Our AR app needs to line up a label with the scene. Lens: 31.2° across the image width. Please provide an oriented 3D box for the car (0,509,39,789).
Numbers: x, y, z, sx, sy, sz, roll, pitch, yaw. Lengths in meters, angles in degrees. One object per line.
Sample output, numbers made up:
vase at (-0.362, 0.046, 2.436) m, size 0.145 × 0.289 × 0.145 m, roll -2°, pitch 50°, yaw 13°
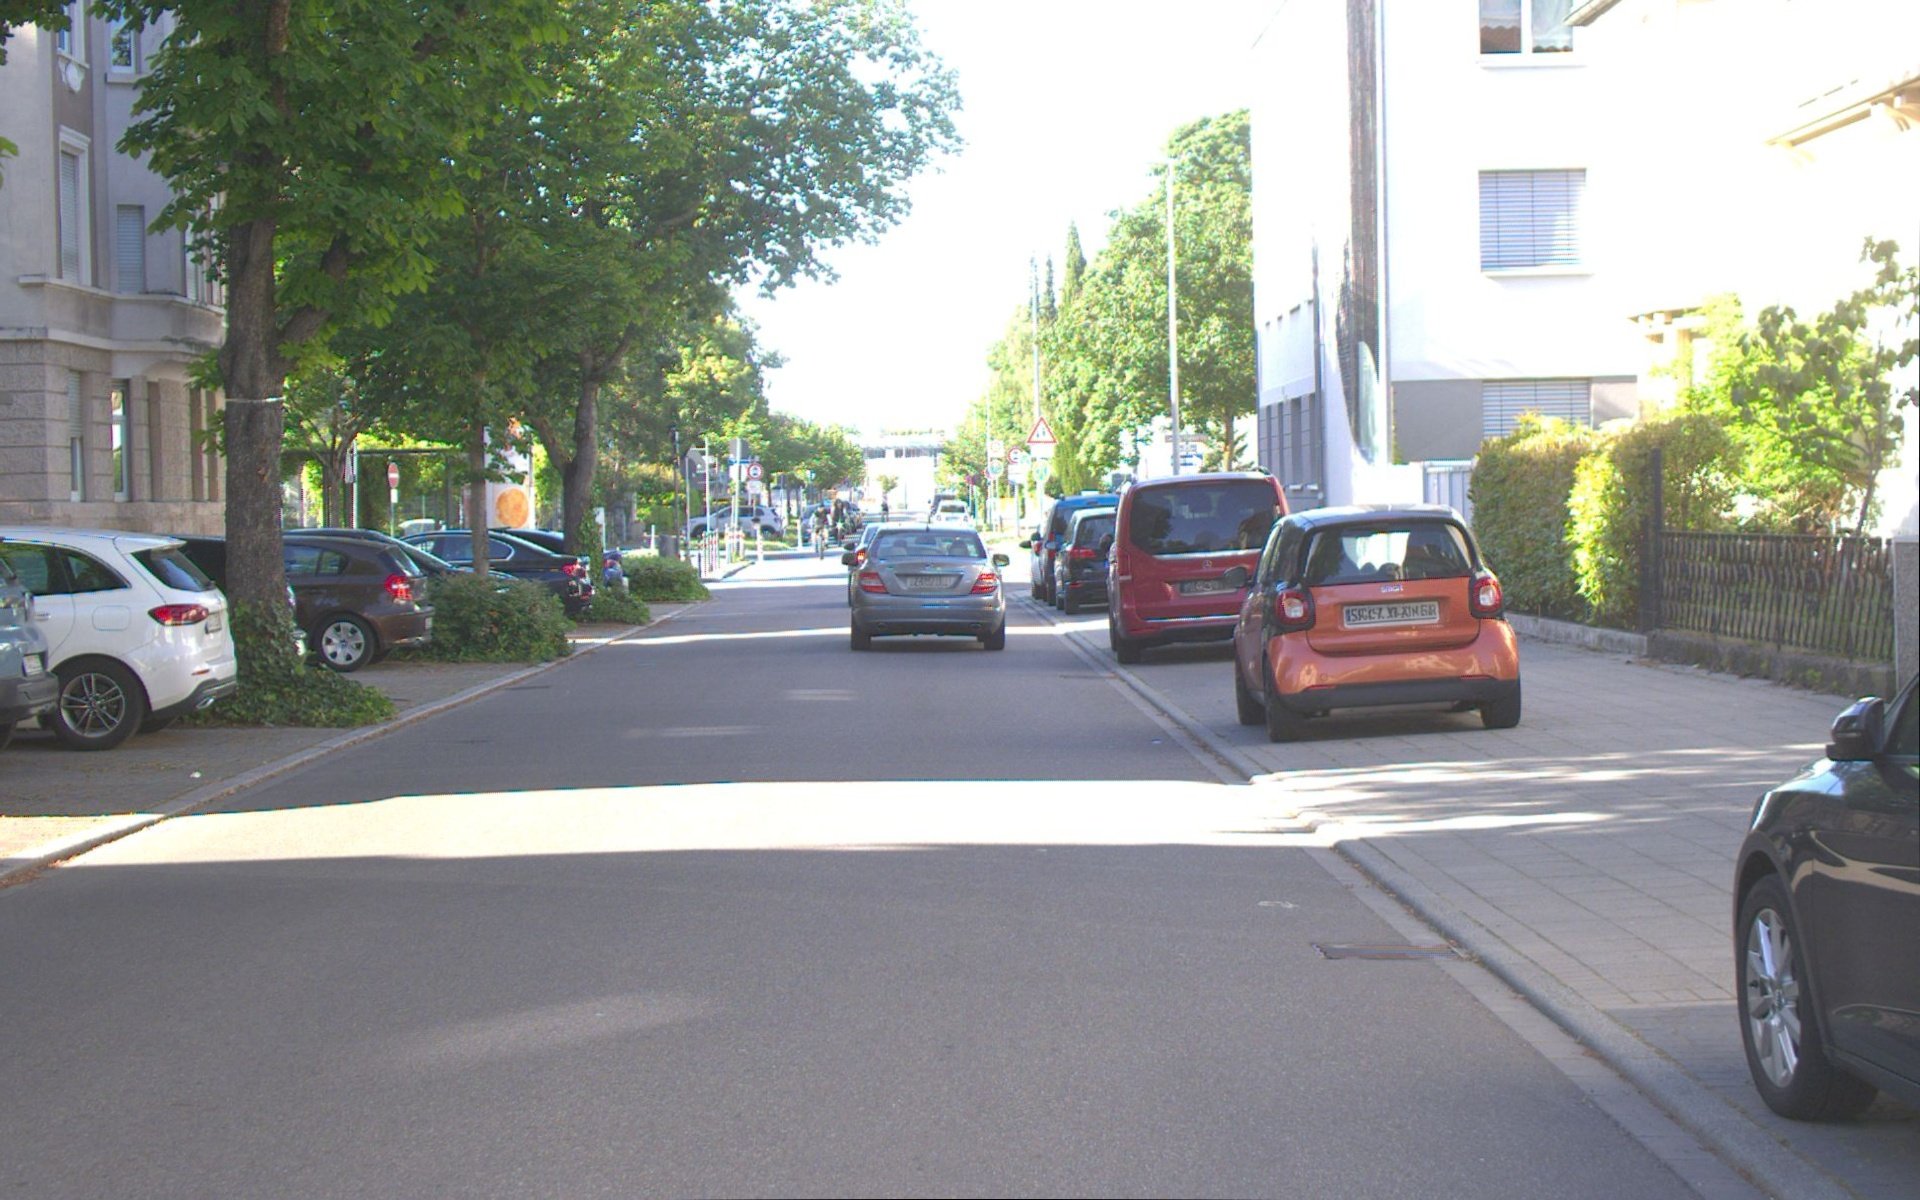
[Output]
car at (-7.415, 0.281, 19.176) m, size 3.987 × 1.570 × 1.981 m, roll 0°, pitch 2°, yaw 2°

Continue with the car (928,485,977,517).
car at (-0.320, -4.259, 147.874) m, size 1.722 × 1.325 × 4.001 m, roll -2°, pitch 2°, yaw -5°

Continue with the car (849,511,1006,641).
car at (-0.351, -0.295, 40.103) m, size 1.726 × 1.415 × 3.960 m, roll 1°, pitch 1°, yaw 0°

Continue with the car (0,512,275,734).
car at (-7.037, 0.124, 24.333) m, size 4.022 × 1.479 × 1.807 m, roll 1°, pitch 2°, yaw -1°

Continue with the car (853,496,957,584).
car at (-0.948, -1.026, 58.851) m, size 1.707 × 1.443 × 4.203 m, roll 1°, pitch 1°, yaw -1°

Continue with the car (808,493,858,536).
car at (-5.384, -3.611, 145.364) m, size 1.872 × 1.722 × 4.001 m, roll -2°, pitch 2°, yaw -5°

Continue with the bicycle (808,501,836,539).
bicycle at (-4.085, -2.375, 101.972) m, size 0.719 × 1.075 × 1.891 m, roll -2°, pitch 2°, yaw 0°

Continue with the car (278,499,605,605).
car at (-7.415, -0.693, 49.491) m, size 4.473 × 1.474 × 1.869 m, roll 0°, pitch 1°, yaw -2°

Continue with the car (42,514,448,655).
car at (-7.595, -0.187, 36.778) m, size 3.986 × 1.416 × 1.771 m, roll 0°, pitch 3°, yaw -1°

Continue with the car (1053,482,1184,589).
car at (2.399, -1.031, 52.965) m, size 1.737 × 1.526 × 4.179 m, roll -2°, pitch 2°, yaw -1°

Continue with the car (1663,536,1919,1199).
car at (2.806, 0.608, 7.249) m, size 1.619 × 1.435 × 3.935 m, roll -4°, pitch 2°, yaw -2°

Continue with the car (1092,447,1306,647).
car at (2.448, -0.579, 36.390) m, size 1.871 × 1.898 × 5.198 m, roll -2°, pitch 1°, yaw 1°

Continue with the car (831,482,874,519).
car at (-5.307, -4.875, 169.003) m, size 1.787 × 1.527 × 4.000 m, roll -4°, pitch 0°, yaw -5°

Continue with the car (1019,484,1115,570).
car at (1.937, -1.328, 63.230) m, size 1.564 × 1.406 × 3.730 m, roll -5°, pitch 1°, yaw 1°

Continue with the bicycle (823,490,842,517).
bicycle at (-4.630, -3.510, 124.988) m, size 0.589 × 0.928 × 1.850 m, roll -1°, pitch 2°, yaw 1°

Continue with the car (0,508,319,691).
car at (-7.314, -0.017, 28.221) m, size 4.021 × 1.439 × 1.800 m, roll 1°, pitch 1°, yaw -10°

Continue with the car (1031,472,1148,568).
car at (2.177, -1.349, 58.785) m, size 1.682 × 1.430 × 4.266 m, roll -5°, pitch 1°, yaw 0°

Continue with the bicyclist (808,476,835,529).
bicyclist at (-4.104, -2.894, 101.928) m, size 0.721 × 1.531 × 1.137 m, roll -2°, pitch 2°, yaw 0°

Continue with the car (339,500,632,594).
car at (-7.545, -0.850, 54.942) m, size 4.473 × 1.474 × 1.869 m, roll 0°, pitch 1°, yaw -2°

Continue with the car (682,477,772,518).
car at (-9.495, -4.182, 140.010) m, size 3.493 × 1.528 × 1.645 m, roll -3°, pitch 2°, yaw -7°

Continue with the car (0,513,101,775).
car at (-7.456, 0.239, 21.847) m, size 3.515 × 1.570 × 1.771 m, roll 0°, pitch 2°, yaw 2°

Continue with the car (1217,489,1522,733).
car at (2.752, 0.020, 23.691) m, size 1.592 × 1.475 × 3.248 m, roll -3°, pitch 2°, yaw -1°

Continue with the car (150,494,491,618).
car at (-8.115, -0.561, 43.971) m, size 4.171 × 1.495 × 2.001 m, roll 1°, pitch 1°, yaw -7°
